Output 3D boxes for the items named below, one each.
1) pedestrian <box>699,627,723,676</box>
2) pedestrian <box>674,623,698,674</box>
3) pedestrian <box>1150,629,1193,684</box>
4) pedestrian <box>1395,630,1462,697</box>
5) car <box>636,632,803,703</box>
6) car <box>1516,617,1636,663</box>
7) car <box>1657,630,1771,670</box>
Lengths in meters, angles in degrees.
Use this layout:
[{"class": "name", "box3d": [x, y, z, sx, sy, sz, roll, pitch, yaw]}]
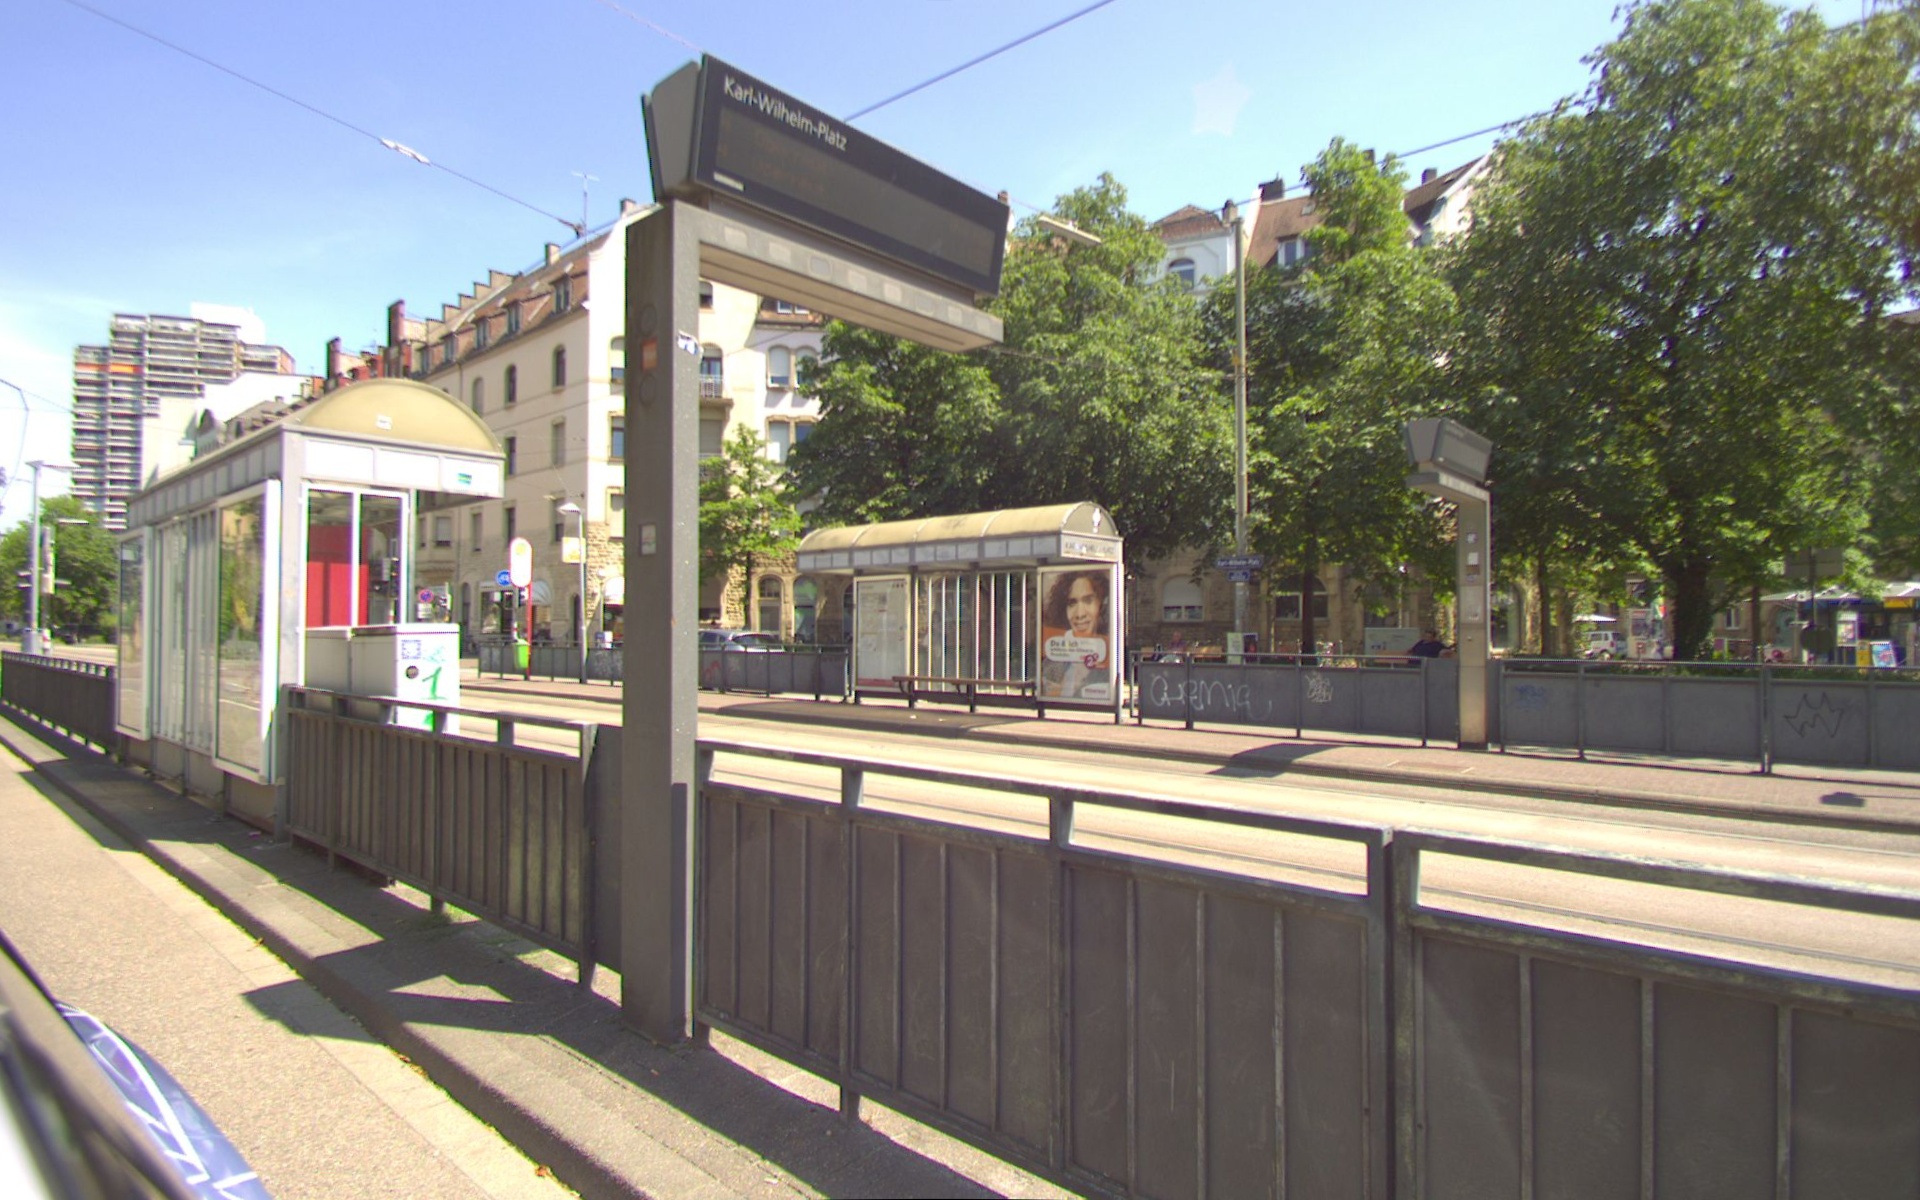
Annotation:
[{"class": "pedestrian", "box3d": [-7.988, 1.652, 32.497, 0.473, 1.563, 0.586, -2, -3, 39]}, {"class": "pedestrian", "box3d": [-8.935, 1.568, 33.001, 0.473, 1.659, 0.586, -2, -3, 41]}, {"class": "pedestrian", "box3d": [5.088, 1.350, 24.318, 0.930, 1.253, 0.860, -1, 0, 17]}, {"class": "pedestrian", "box3d": [9.278, 1.234, 20.043, 0.852, 1.253, 0.939, -1, 0, -43]}, {"class": "car", "box3d": [-5.603, 1.483, 23.364, 3.998, 1.404, 1.789, -1, 0, 41]}, {"class": "car", "box3d": [26.713, 1.696, 44.014, 1.966, 1.803, 4.011, -1, 0, -33]}, {"class": "car", "box3d": [35.782, 2.340, 48.106, 1.736, 1.721, 3.998, -1, 0, -33]}]
